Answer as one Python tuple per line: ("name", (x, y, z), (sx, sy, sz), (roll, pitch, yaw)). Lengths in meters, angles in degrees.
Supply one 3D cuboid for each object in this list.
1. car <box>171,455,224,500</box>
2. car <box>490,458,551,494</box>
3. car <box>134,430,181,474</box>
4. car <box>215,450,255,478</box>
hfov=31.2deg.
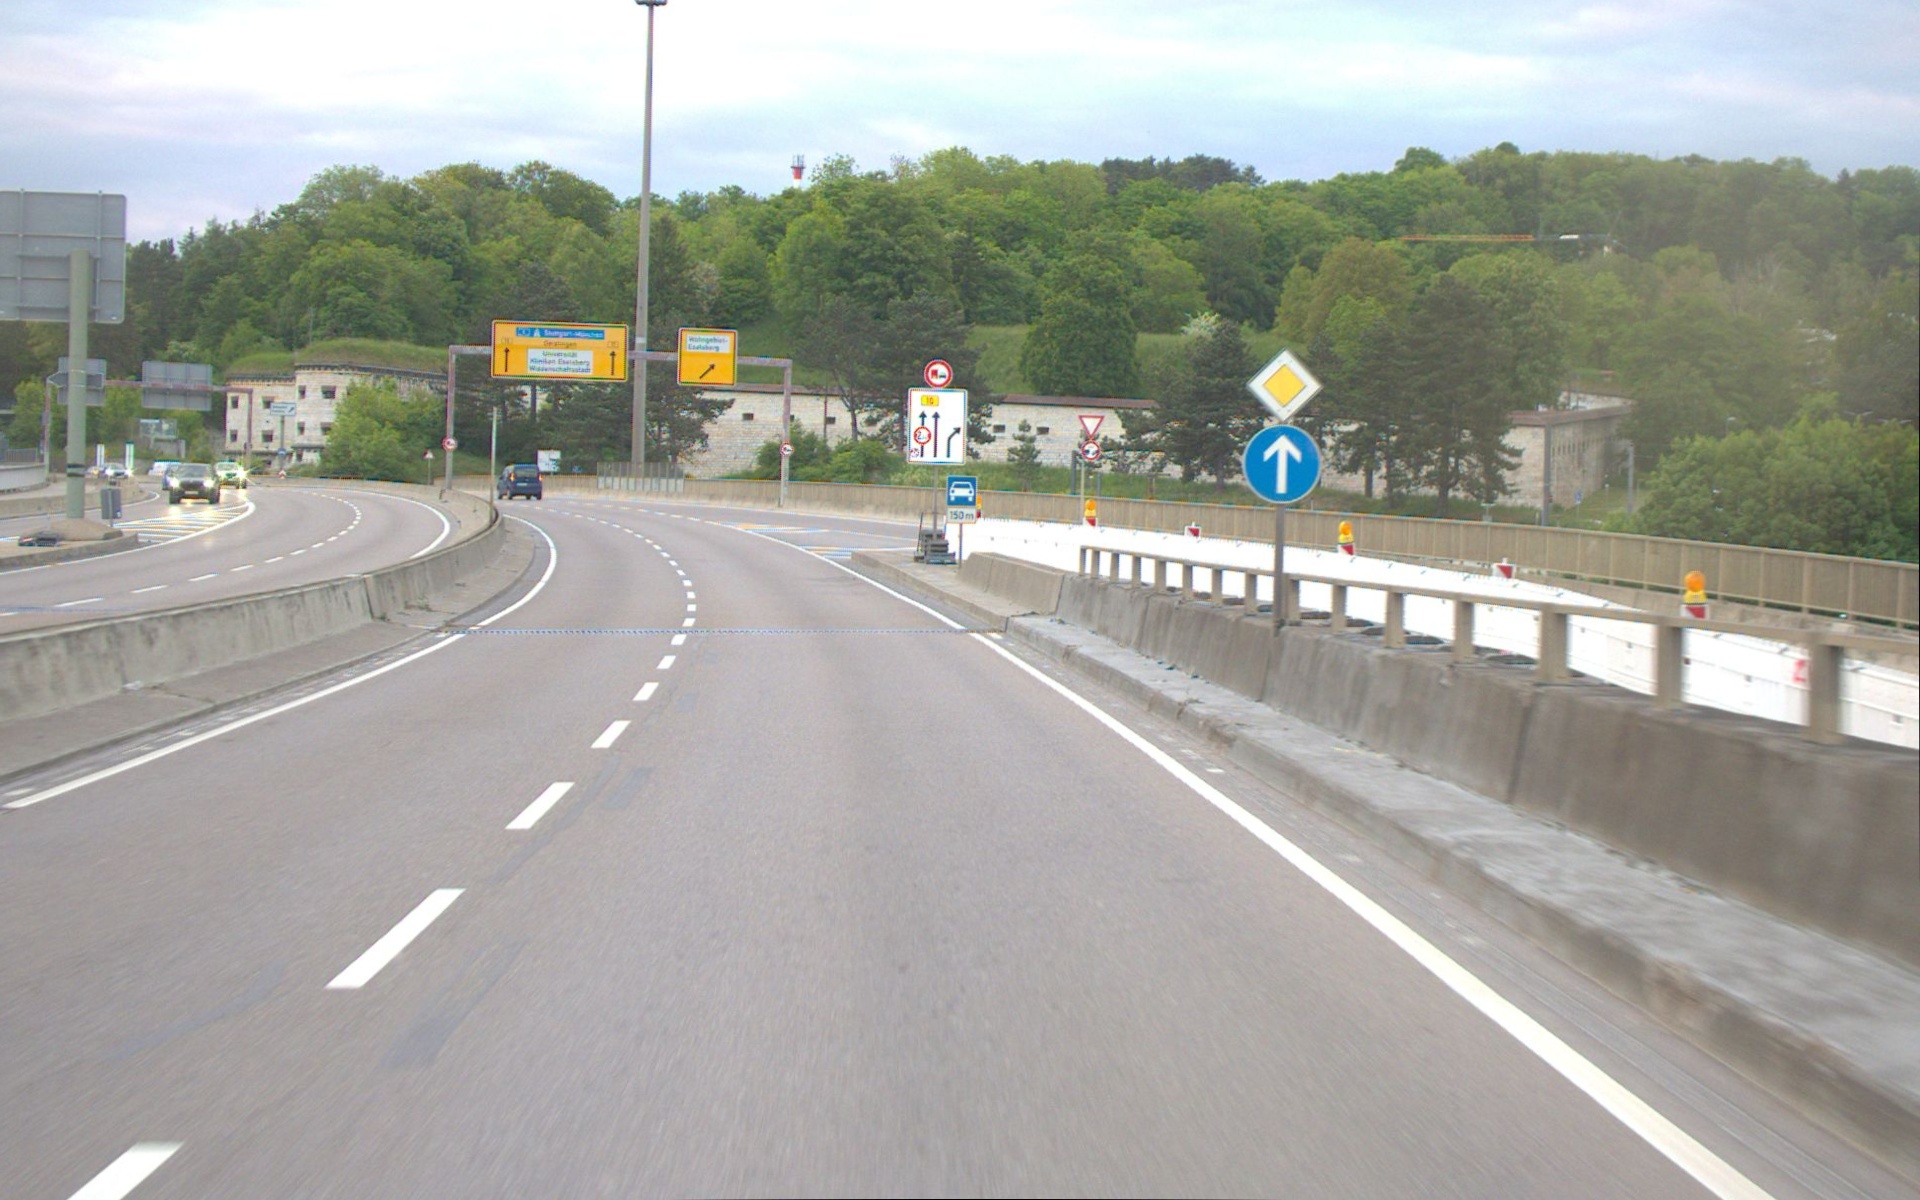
("car", (-31.291, -5.012, 141.115), (1.636, 1.711, 4.001), (-3, 2, -7))
("car", (-23.127, -6.541, 180.785), (2.304, 1.757, 4.264), (2, 2, -19))
("car", (-42.396, -7.827, 181.646), (1.993, 2.006, 4.002), (7, 1, -10))
("car", (-41.865, -7.847, 198.479), (1.710, 1.489, 4.082), (3, 0, -19))
